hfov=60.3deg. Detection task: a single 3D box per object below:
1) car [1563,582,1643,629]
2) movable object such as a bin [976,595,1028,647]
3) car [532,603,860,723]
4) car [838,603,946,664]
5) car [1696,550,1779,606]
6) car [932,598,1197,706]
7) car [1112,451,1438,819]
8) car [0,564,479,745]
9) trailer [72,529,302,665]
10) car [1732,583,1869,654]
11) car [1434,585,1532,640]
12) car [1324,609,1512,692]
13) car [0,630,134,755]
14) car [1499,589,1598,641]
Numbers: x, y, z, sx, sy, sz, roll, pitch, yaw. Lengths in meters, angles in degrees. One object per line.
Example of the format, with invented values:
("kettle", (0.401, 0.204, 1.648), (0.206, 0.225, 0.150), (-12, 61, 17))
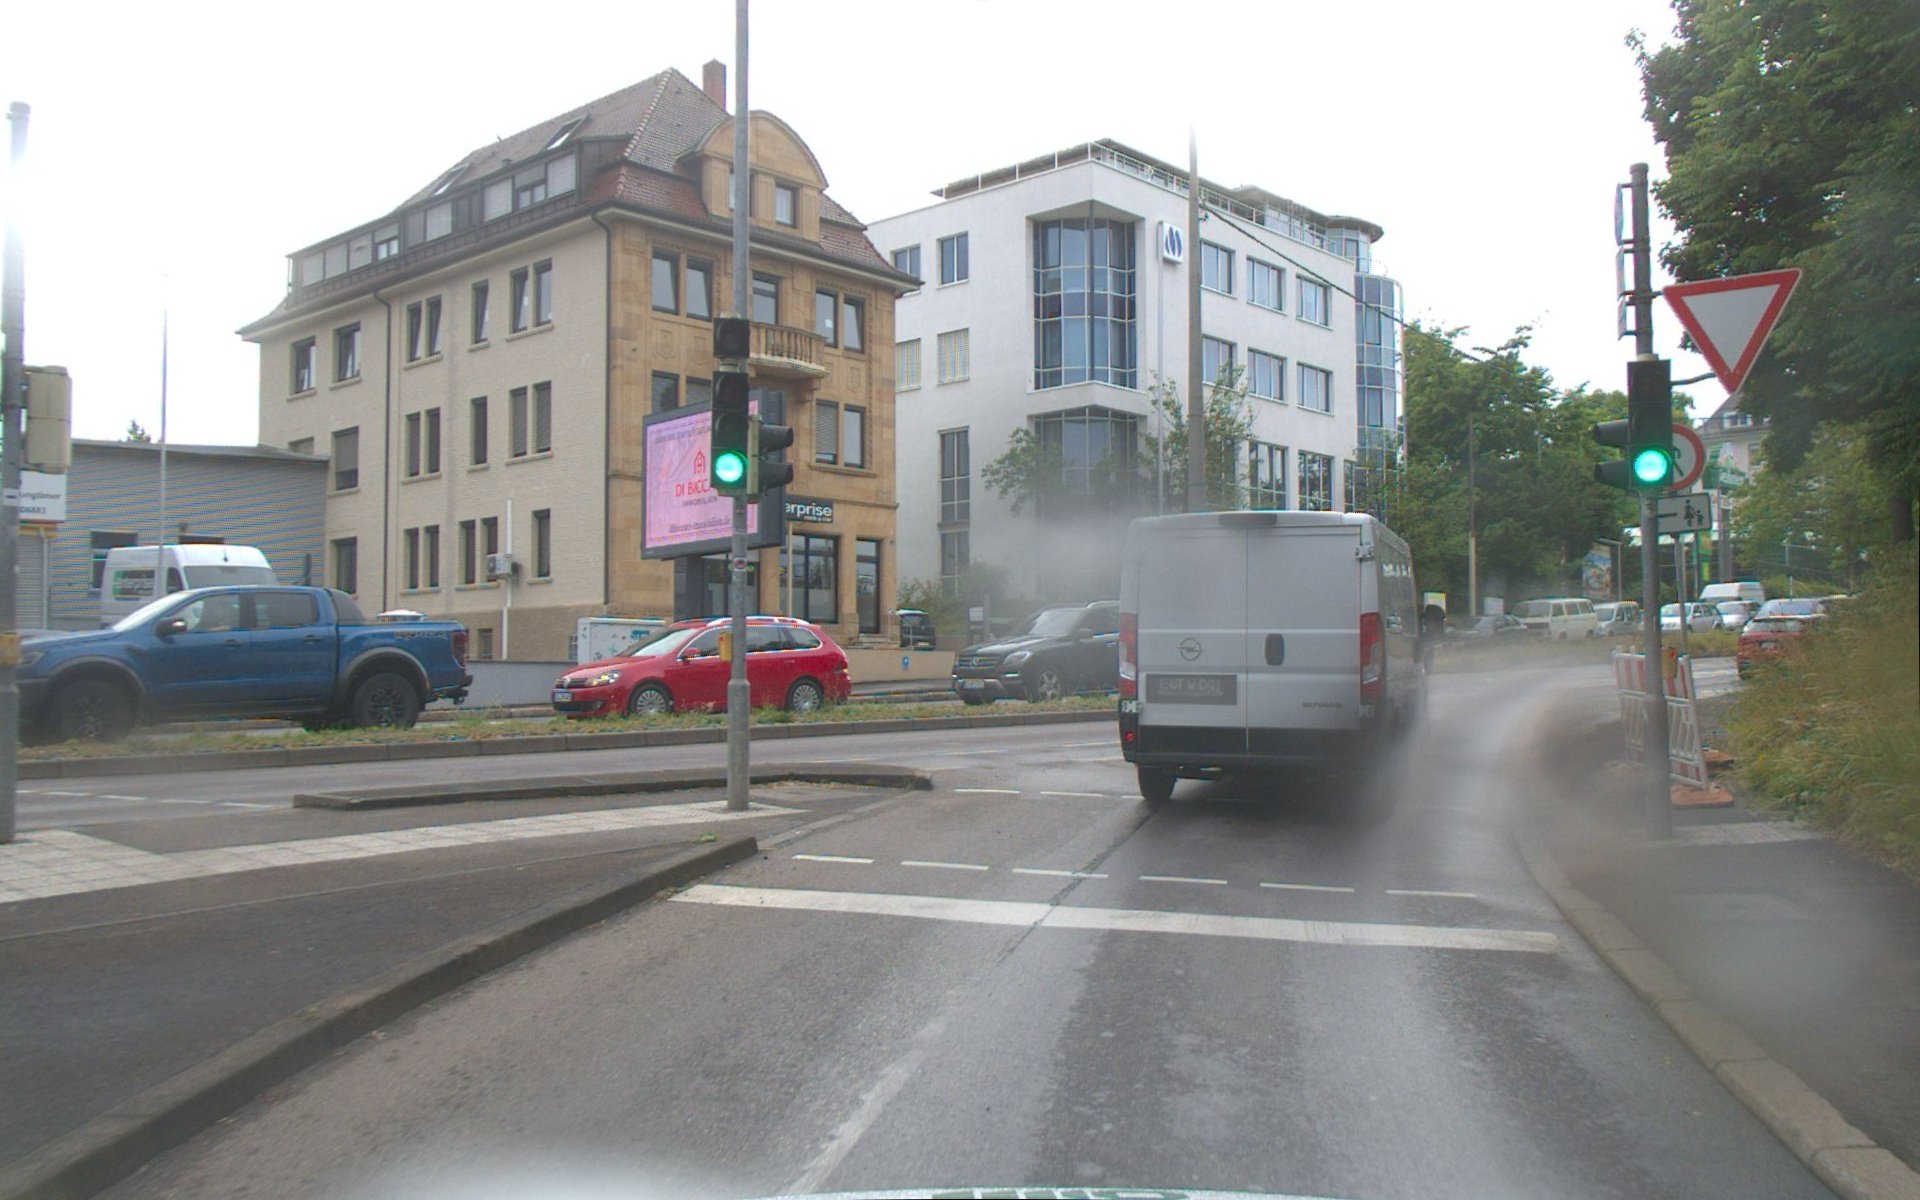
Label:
("car", (25.897, 0.213, 66.562), (1.570, 1.725, 3.754), (-4, -2, 44))
("movable object such as a bin", (1.297, 0.658, 50.872), (1.226, 1.568, 1.034), (-3, -3, 41))
("car", (-3.664, 0.935, 23.509), (4.405, 1.558, 1.783), (3, -5, -43))
("car", (-2.093, 1.050, 50.450), (2.999, 1.705, 1.704), (-4, -5, 43))
("car", (37.157, -1.037, 78.974), (1.934, 2.486, 5.622), (-4, -2, 42))
("car", (1.881, 0.886, 28.690), (4.586, 1.727, 1.931), (0, -3, -42))
("car", (2.897, 0.238, 14.173), (2.007, 2.560, 4.945), (2, 0, 19))
("car", (-8.462, 0.623, 19.396), (5.127, 1.850, 1.910), (1, -3, -43))
("trailer", (-16.633, 0.071, 35.343), (2.376, 2.471, 7.005), (3, -5, -43))
("car", (18.581, 0.450, 36.511), (3.340, 1.451, 1.672), (3, -3, -43))
("car", (18.348, 0.414, 57.974), (1.588, 1.752, 3.966), (-4, -2, 44))
("car", (9.838, 1.127, 35.326), (4.690, 1.633, 1.667), (3, -5, -43))
("car", (-12.365, 1.122, 19.948), (4.037, 1.485, 1.522), (3, -5, -43))
("car", (22.229, 0.539, 62.388), (1.746, 1.776, 4.552), (-4, -2, 44))
